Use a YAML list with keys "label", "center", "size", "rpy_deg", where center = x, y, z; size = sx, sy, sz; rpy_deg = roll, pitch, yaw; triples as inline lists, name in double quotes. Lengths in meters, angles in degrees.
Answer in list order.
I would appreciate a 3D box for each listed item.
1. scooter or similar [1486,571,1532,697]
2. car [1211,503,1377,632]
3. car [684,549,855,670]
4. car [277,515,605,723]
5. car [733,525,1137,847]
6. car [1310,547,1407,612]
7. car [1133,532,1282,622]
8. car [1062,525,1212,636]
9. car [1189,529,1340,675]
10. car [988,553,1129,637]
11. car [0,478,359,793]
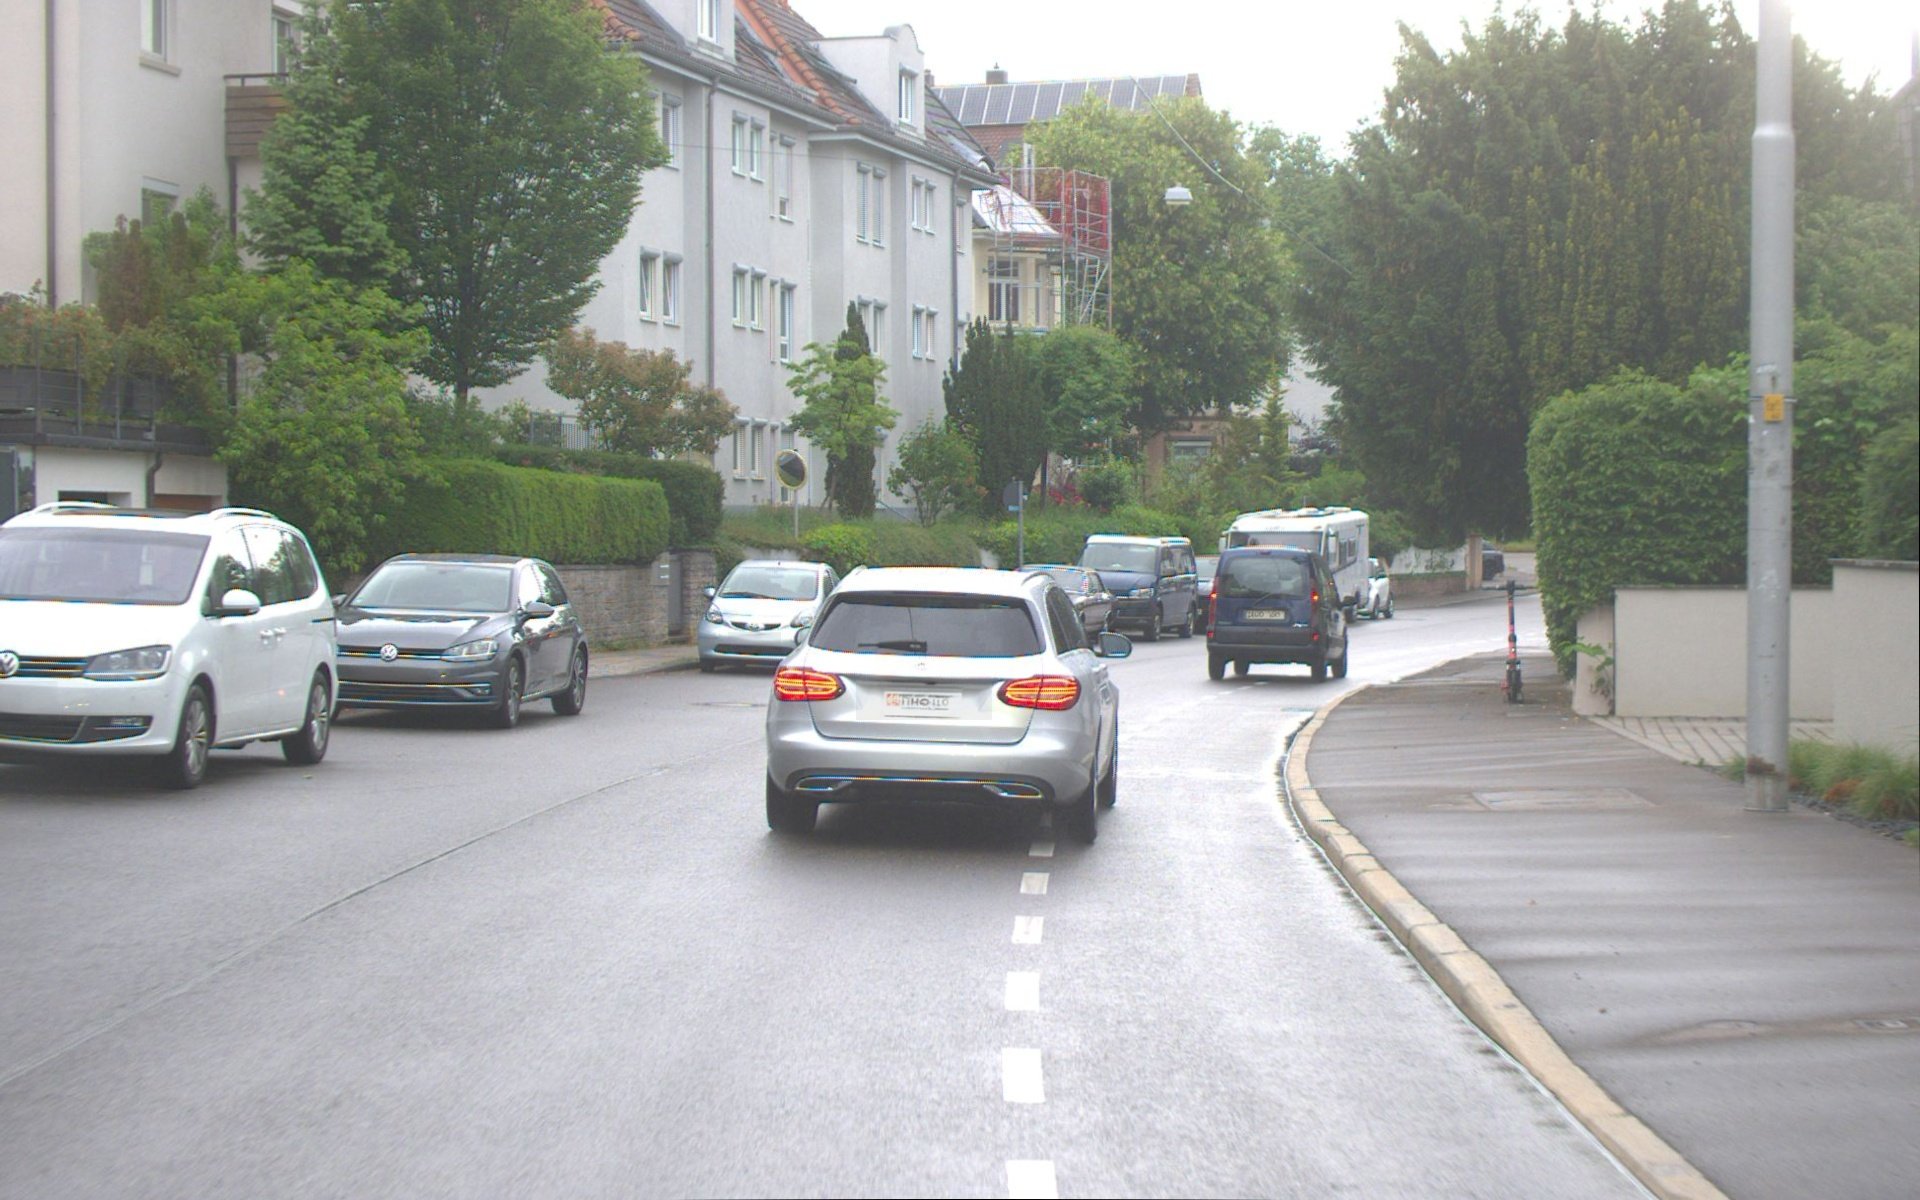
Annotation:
- label: "scooter or similar"
  center: [5.784, 0.345, 36.258]
  size: [0.450, 1.303, 1.481]
  rpy_deg: [0, 0, 8]
- label: "car"
  center: [7.932, -0.828, 80.989]
  size: [2.393, 2.762, 6.526]
  rpy_deg: [3, 3, 19]
- label: "car"
  center: [-2.467, 0.099, 45.309]
  size: [1.605, 1.481, 3.486]
  rpy_deg: [2, 1, 7]
- label: "car"
  center: [-4.453, 0.114, 30.107]
  size: [1.792, 1.575, 4.137]
  rpy_deg: [4, 1, 6]
- label: "car"
  center: [-0.031, 0.392, 19.437]
  size: [1.816, 1.551, 3.999]
  rpy_deg: [2, 2, 6]
- label: "car"
  center: [10.031, -0.524, 86.357]
  size: [1.714, 1.442, 3.252]
  rpy_deg: [3, 3, 19]
- label: "car"
  center: [5.372, -0.523, 74.022]
  size: [1.995, 1.682, 4.672]
  rpy_deg: [3, 3, 19]
- label: "car"
  center: [3.546, -0.379, 68.124]
  size: [1.831, 2.049, 5.006]
  rpy_deg: [2, 1, 16]
- label: "car"
  center: [4.309, 0.014, 48.131]
  size: [1.843, 1.897, 3.999]
  rpy_deg: [2, 1, 8]
- label: "car"
  center: [1.829, -0.122, 62.566]
  size: [1.644, 1.412, 4.610]
  rpy_deg: [2, 1, 13]
- label: "car"
  center: [-5.381, 0.126, 21.784]
  size: [1.994, 1.696, 4.738]
  rpy_deg: [4, 1, 3]
